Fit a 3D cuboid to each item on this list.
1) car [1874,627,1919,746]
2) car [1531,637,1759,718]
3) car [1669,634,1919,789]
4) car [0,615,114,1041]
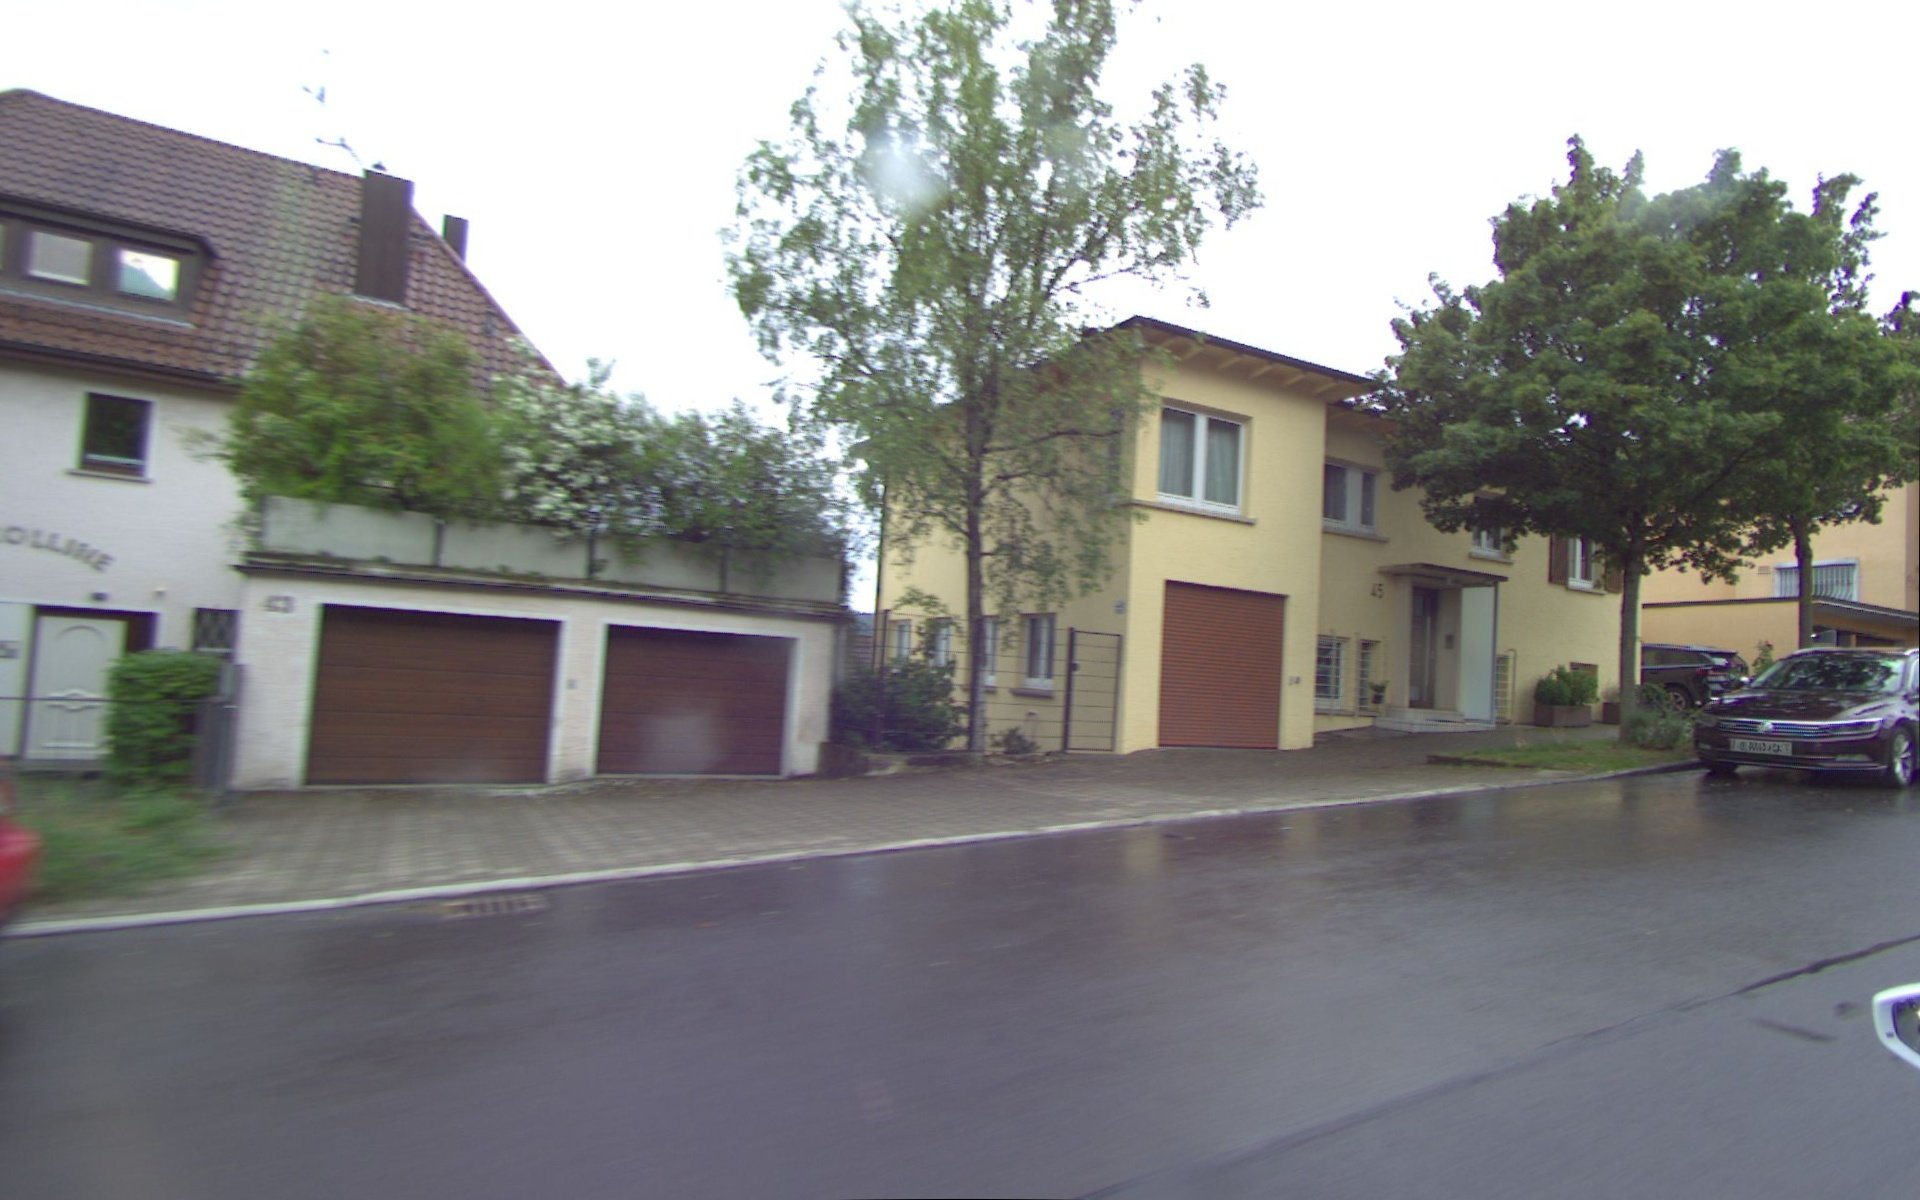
[{"bbox_3d":[15.394,1.210,14.531,4.055,1.655,1.763,1,-5,-26],"label":"car"},{"bbox_3d":[15.734,1.724,23.308,1.839,1.667,4.041,2,-2,-25],"label":"car"},{"bbox_3d":[10.634,1.213,11.959,4.549,1.555,1.761,1,-3,-29],"label":"car"},{"bbox_3d":[-5.241,0.746,3.016,3.819,1.491,1.674,2,-3,-30],"label":"car"}]
